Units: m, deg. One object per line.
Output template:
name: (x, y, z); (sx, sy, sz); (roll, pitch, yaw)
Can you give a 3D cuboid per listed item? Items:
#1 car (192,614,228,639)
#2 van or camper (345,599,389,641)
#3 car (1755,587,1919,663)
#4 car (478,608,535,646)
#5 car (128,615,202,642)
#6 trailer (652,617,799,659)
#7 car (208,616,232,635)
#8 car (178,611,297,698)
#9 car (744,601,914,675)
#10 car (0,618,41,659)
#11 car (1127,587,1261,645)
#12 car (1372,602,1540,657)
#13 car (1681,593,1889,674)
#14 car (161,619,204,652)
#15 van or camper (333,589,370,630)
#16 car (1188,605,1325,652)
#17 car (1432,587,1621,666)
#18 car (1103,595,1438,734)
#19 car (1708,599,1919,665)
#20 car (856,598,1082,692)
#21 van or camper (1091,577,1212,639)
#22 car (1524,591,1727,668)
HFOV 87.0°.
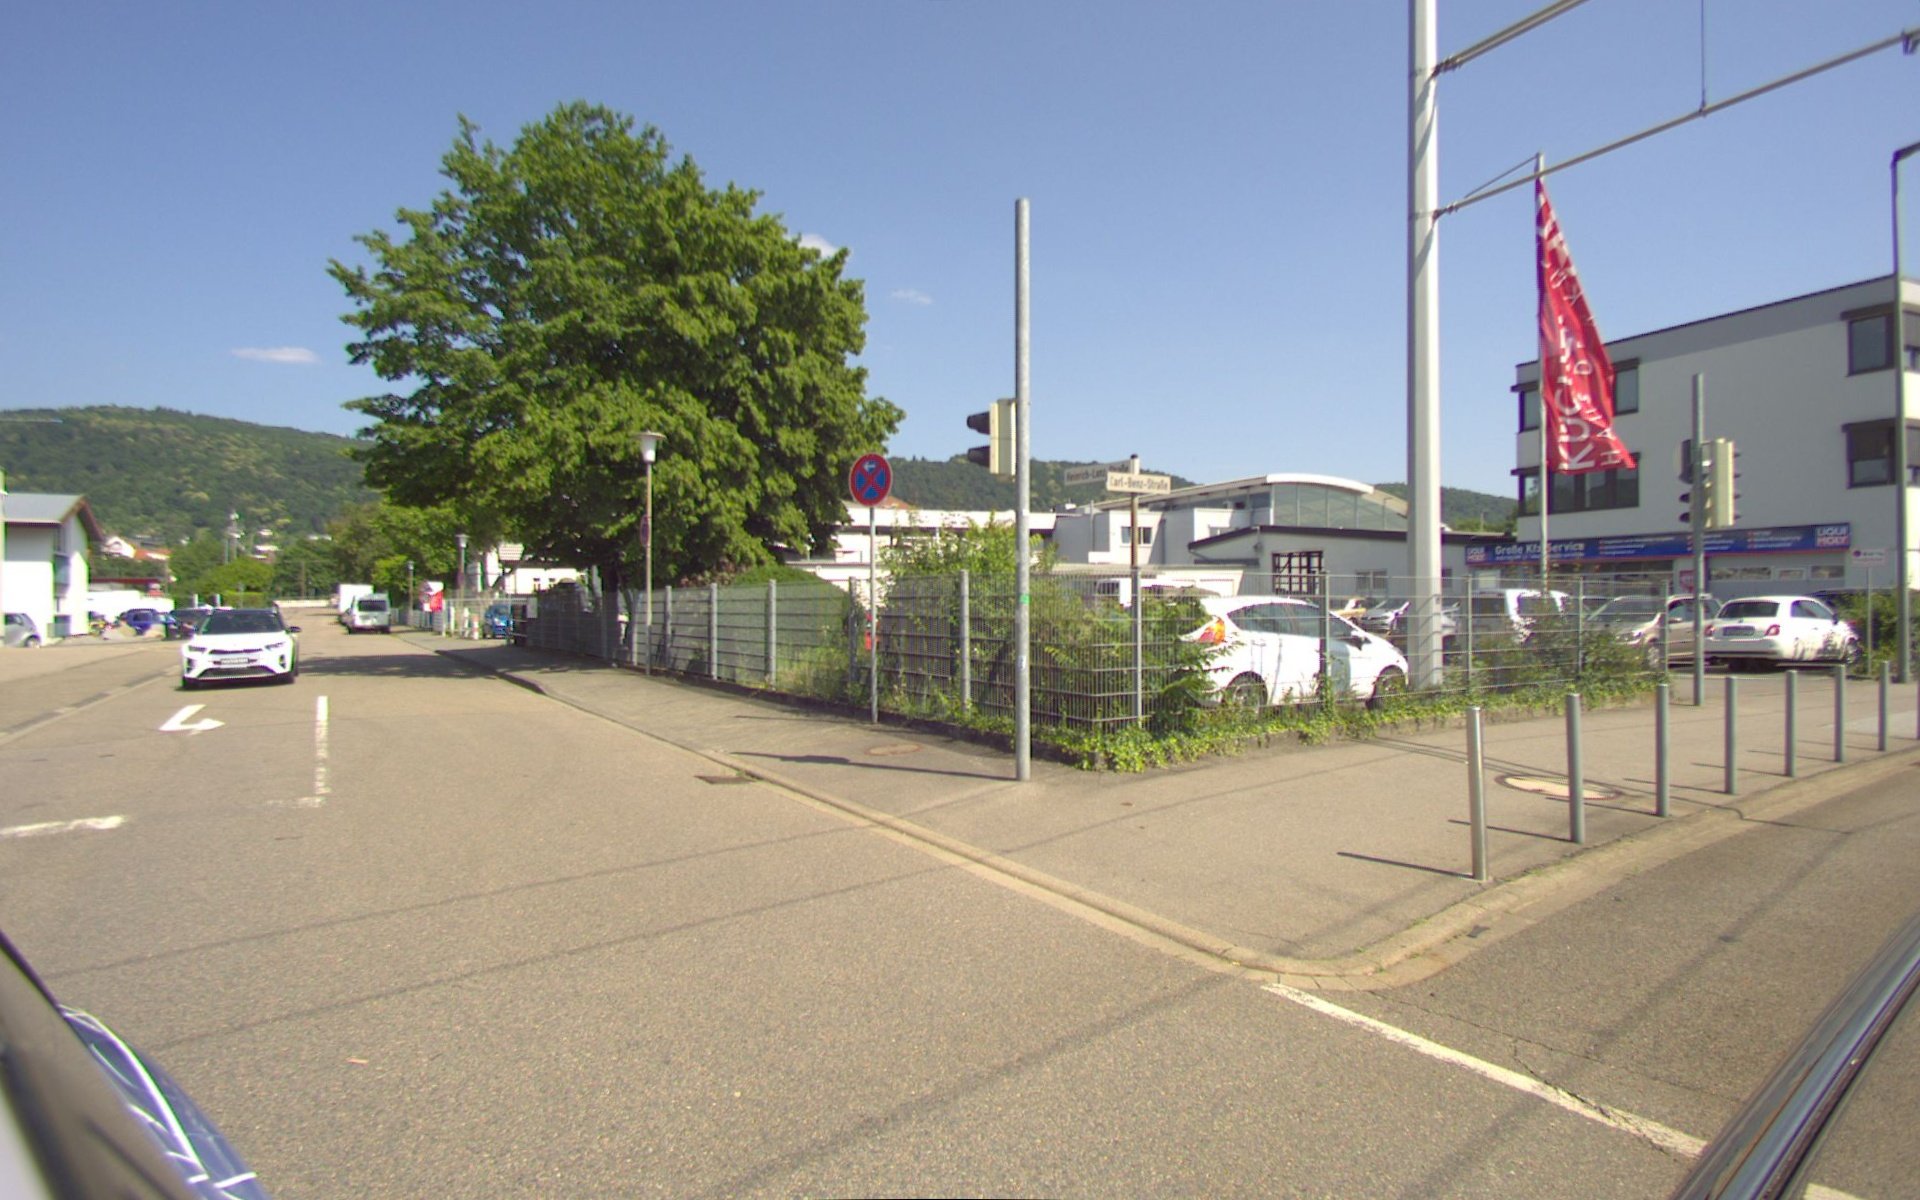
car: (-47.672, 1.671, 64.285); (1.431, 1.507, 3.190); (-3, 2, -43)
van or camper: (-35.055, 1.150, 59.773); (1.995, 2.395, 4.699); (1, -1, -33)
car: (21.839, 0.569, 24.175); (1.965, 1.719, 4.013); (0, 0, -28)
car: (-19.600, 1.139, 43.657); (1.618, 1.469, 3.535); (-3, 1, -34)
car: (-42.247, 1.505, 53.837); (2.927, 1.350, 1.457); (0, -1, -32)
trailer: (-5.818, 0.920, 25.123); (3.236, 0.946, 1.617); (0, -1, -30)
car: (-58.748, 2.037, 80.365); (1.429, 1.389, 3.195); (-3, 1, -35)
car: (-14.384, 1.003, 20.331); (1.708, 1.541, 4.121); (0, 0, -32)
car: (-2.821, 0.778, 21.945); (3.331, 1.496, 1.522); (0, -1, -30)
car: (-37.075, 1.482, 38.586); (1.299, 1.545, 2.813); (-2, -1, 10)
car: (8.701, 0.575, 37.591); (4.500, 2.029, 2.065); (0, -1, -24)
car: (13.181, 0.751, 26.909); (3.930, 1.369, 1.853); (0, 0, -22)
car: (17.007, 0.644, 20.872); (3.769, 1.553, 1.747); (0, 0, -23)
car: (-36.031, 1.610, 46.955); (1.429, 1.389, 3.195); (0, 0, -35)
van or camper: (-51.573, 0.810, 85.672); (2.484, 3.395, 5.607); (0, -1, -33)
car: (10.439, 0.984, 35.658); (4.348, 1.569, 1.998); (0, -1, -24)
car: (13.869, 0.612, 24.804); (3.930, 1.798, 2.007); (0, -1, -22)
car: (3.816, 0.691, 12.303); (3.887, 1.444, 1.718); (1, 0, -30)
car: (19.869, 0.684, 23.352); (1.718, 1.381, 3.849); (0, 0, -27)
car: (0.195, 0.754, 18.524); (3.773, 1.553, 1.861); (0, -1, -35)
van or camper: (7.569, 0.280, 40.006); (4.522, 2.323, 1.787); (0, 0, -26)
car: (14.742, 0.611, 22.441); (3.867, 1.580, 1.863); (0, -1, -22)
